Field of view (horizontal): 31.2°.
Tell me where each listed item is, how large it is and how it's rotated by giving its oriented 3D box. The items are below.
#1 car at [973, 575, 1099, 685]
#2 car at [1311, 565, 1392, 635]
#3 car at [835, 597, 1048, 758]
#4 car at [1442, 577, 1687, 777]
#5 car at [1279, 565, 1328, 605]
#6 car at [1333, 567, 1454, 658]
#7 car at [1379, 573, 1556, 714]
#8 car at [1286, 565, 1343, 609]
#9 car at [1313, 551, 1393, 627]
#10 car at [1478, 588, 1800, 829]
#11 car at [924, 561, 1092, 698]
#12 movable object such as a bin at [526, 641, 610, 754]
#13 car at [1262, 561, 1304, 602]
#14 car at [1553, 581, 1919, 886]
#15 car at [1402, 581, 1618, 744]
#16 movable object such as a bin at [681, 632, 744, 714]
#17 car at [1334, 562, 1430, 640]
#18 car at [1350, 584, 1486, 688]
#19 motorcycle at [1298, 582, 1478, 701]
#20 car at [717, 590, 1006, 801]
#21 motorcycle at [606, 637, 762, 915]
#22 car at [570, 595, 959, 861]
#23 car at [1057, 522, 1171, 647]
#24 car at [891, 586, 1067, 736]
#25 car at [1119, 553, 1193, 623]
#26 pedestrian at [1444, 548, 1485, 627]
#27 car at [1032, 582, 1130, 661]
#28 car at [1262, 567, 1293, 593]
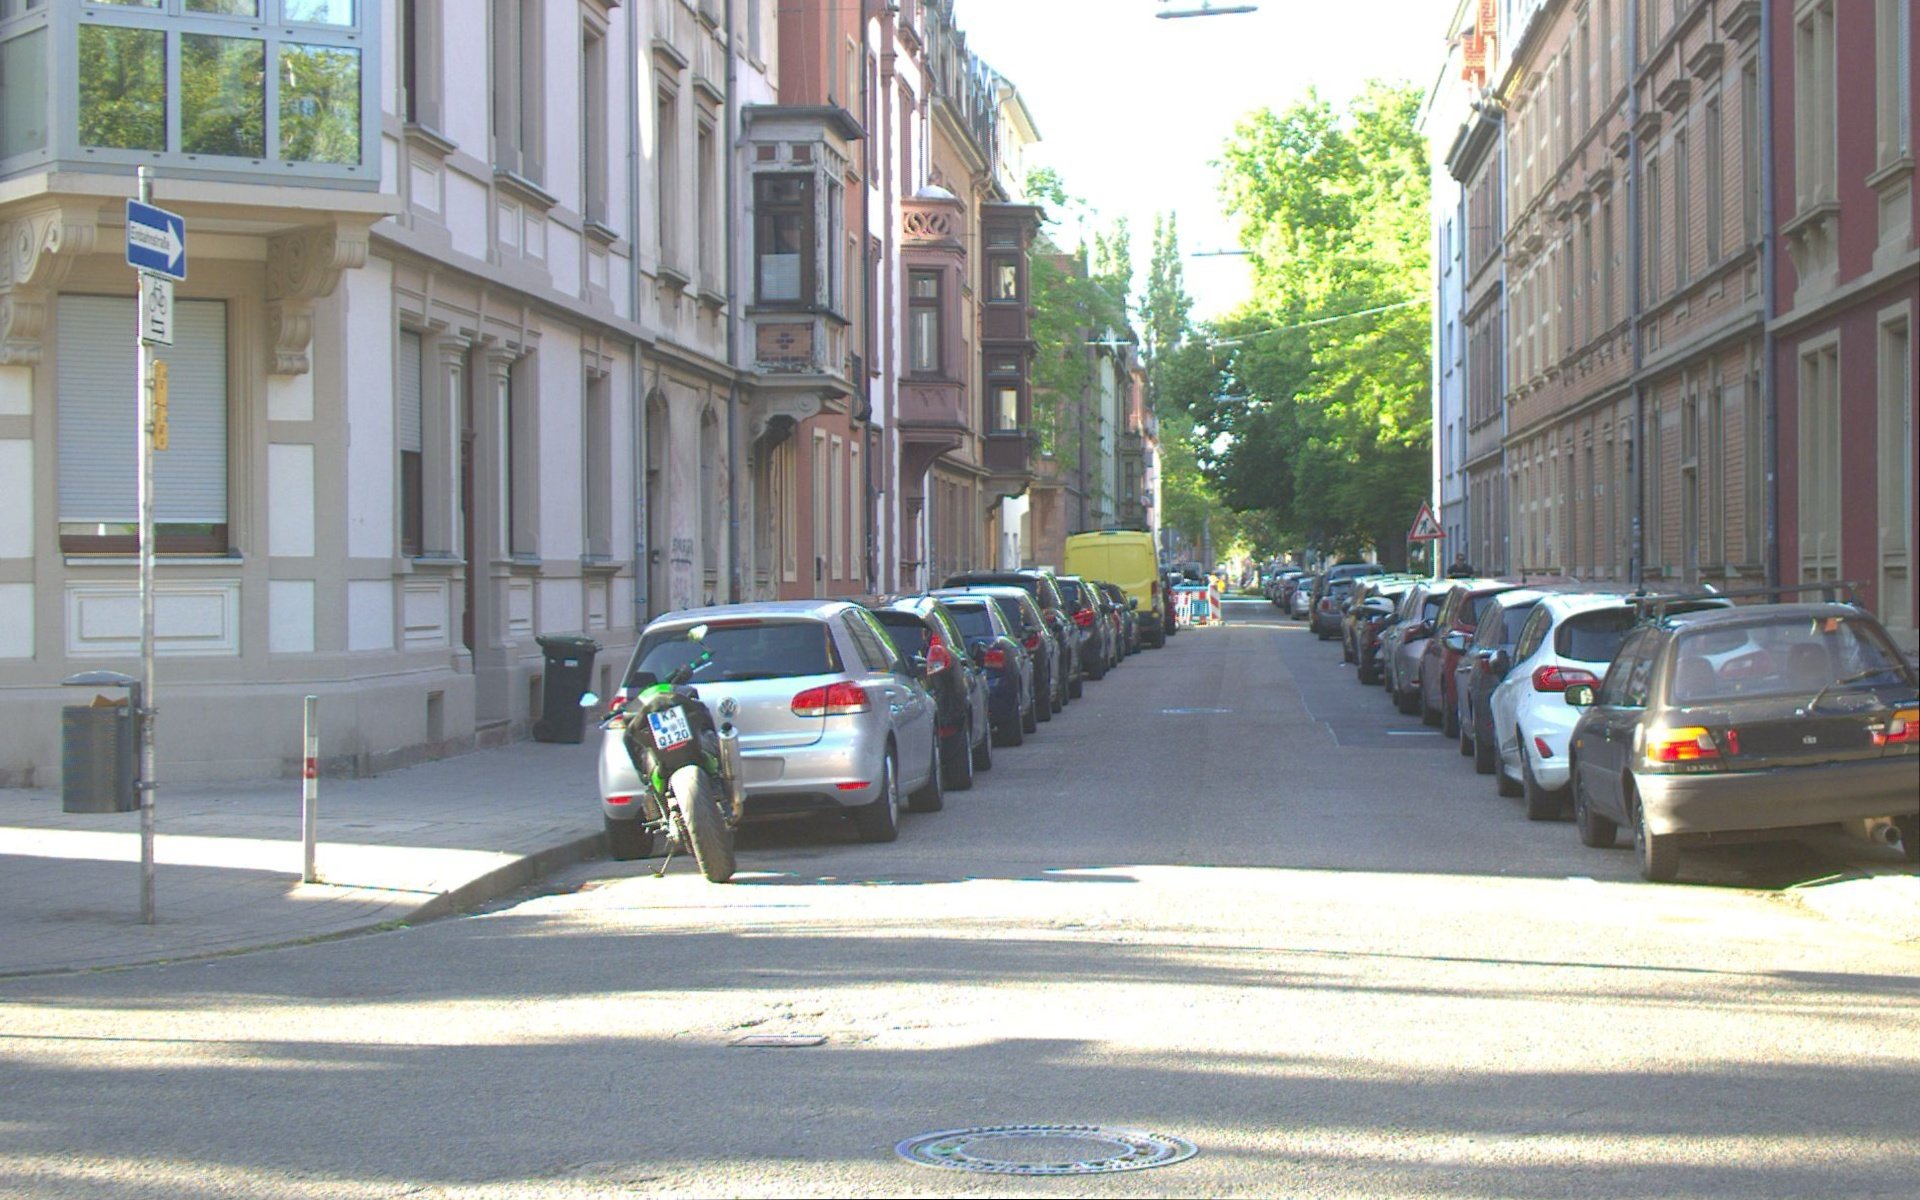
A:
[{"bbox_3d":[1.198,0.425,52.726,1.781,1.600,4.069,0,1,3],"label":"car"},{"bbox_3d":[9.341,-0.026,82.158,1.754,1.448,4.287,-4,1,6],"label":"car"},{"bbox_3d":[-0.118,0.696,32.704,1.781,1.398,3.742,0,1,3],"label":"car"},{"bbox_3d":[4.963,0.581,28.643,1.677,1.498,4.068,0,1,5],"label":"car"},{"bbox_3d":[14.264,-0.617,142.772,1.894,1.620,3.999,0,0,4],"label":"car"},{"bbox_3d":[7.622,0.202,60.728,1.754,1.441,4.069,-4,0,3],"label":"car"},{"bbox_3d":[5.727,0.449,39.199,1.762,1.479,4.400,0,1,5],"label":"car"},{"bbox_3d":[12.517,-0.466,121.563,1.724,1.517,4.000,-1,1,2],"label":"car"},{"bbox_3d":[9.981,-0.296,87.556,1.754,1.780,4.723,-3,1,5],"label":"car"},{"bbox_3d":[4.516,0.666,23.362,1.705,1.457,3.969,0,1,5],"label":"car"},{"bbox_3d":[0.654,0.328,42.965,1.761,1.612,4.188,0,1,5],"label":"car"},{"bbox_3d":[-3.414,0.845,29.969,0.621,0.952,0.511,1,0,5],"label":"movable object such as a bin"},{"bbox_3d":[18.120,-1.030,193.013,2.161,2.248,4.525,0,0,4],"label":"car"},{"bbox_3d":[4.289,0.647,18.844,1.668,1.478,3.706,0,1,4],"label":"car"},{"bbox_3d":[5.392,0.572,34.114,1.659,1.474,4.024,0,1,3],"label":"car"},{"bbox_3d":[-2.824,0.829,39.322,0.612,0.917,0.734,0,0,5],"label":"movable object such as a bin"},{"bbox_3d":[9.324,0.001,76.247,1.754,1.513,4.443,-4,1,4],"label":"car"},{"bbox_3d":[6.584,0.489,49.722,1.777,1.392,4.316,0,1,5],"label":"car"},{"bbox_3d":[5.803,0.561,46.627,2.218,1.531,0.890,2,1,-21],"label":"motorcycle"},{"bbox_3d":[-0.687,0.681,26.585,1.781,1.478,3.742,0,1,5],"label":"car"},{"bbox_3d":[-1.459,0.904,18.460,0.676,1.329,2.001,-3,1,-2],"label":"motorcycle"},{"bbox_3d":[-1.129,0.733,21.743,1.781,1.478,3.931,0,1,7],"label":"car"},{"bbox_3d":[3.388,-0.356,74.667,2.175,2.499,5.877,-3,0,4],"label":"car"},{"bbox_3d":[0.256,0.633,37.797,1.643,1.450,3.839,-3,1,4],"label":"car"},{"bbox_3d":[5.060,-0.319,89.232,1.818,1.760,4.335,0,0,2],"label":"car"},{"bbox_3d":[10.535,-0.253,71.805,0.653,1.625,0.880,-2,0,0],"label":"pedestrian"},{"bbox_3d":[2.252,0.375,63.332,1.618,1.322,3.612,-3,0,4],"label":"car"},{"bbox_3d":[21.257,-1.359,230.531,1.994,1.722,3.999,-1,1,4],"label":"car"}]
